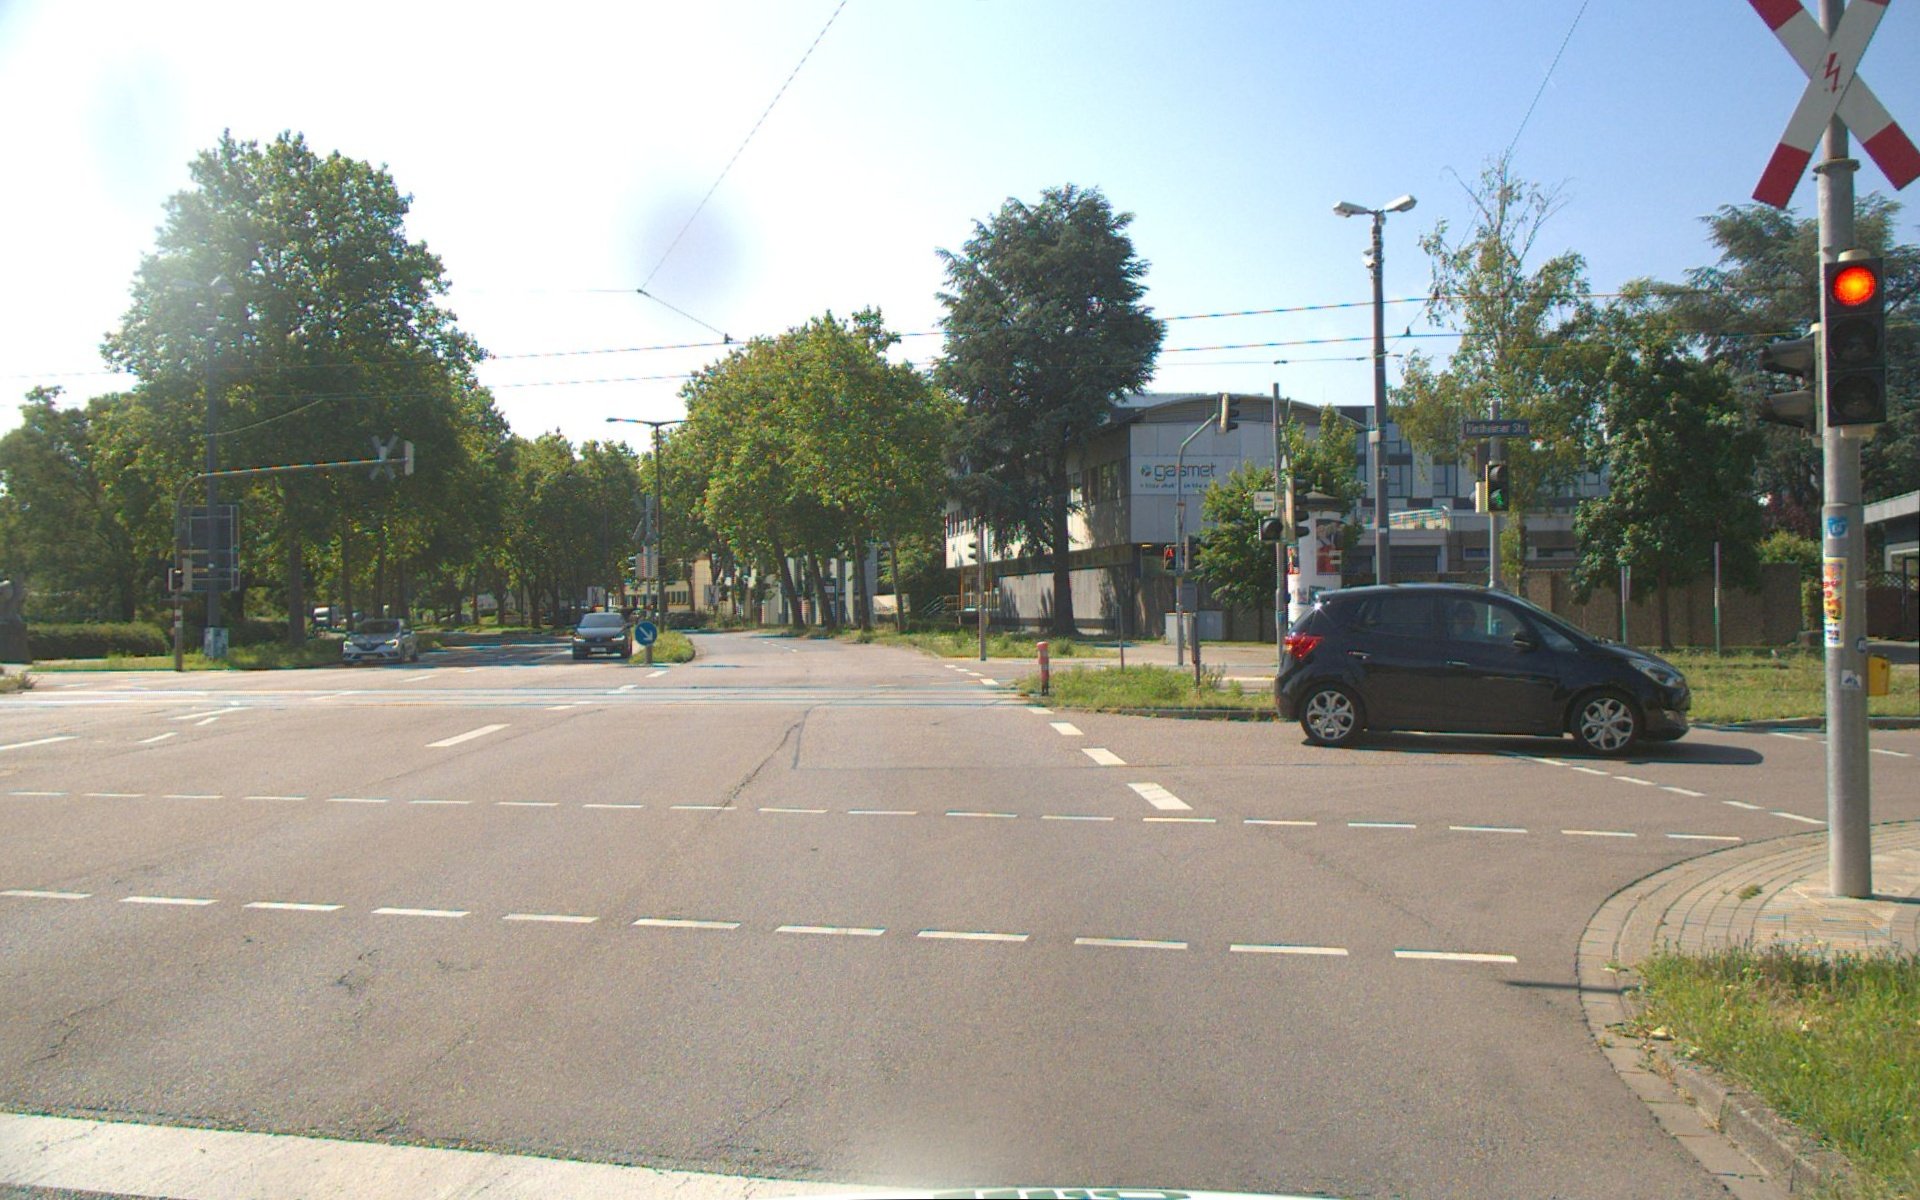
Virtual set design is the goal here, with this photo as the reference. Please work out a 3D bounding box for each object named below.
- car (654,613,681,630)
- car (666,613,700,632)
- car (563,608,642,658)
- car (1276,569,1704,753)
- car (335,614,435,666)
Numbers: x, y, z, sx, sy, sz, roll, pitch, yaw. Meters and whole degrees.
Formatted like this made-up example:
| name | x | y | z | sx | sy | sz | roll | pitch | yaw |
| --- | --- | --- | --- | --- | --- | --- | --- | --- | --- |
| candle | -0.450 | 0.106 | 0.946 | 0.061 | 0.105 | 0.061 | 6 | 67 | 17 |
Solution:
| name | x | y | z | sx | sy | sz | roll | pitch | yaw |
| --- | --- | --- | --- | --- | --- | --- | --- | --- | --- |
| car | -26.255 | 1.930 | 148.360 | 1.682 | 1.514 | 4.075 | -1 | 0 | -21 |
| car | -24.003 | 1.925 | 143.117 | 1.685 | 1.513 | 4.681 | -2 | 0 | -25 |
| car | -11.495 | 1.038 | 53.408 | 1.659 | 1.534 | 4.128 | -1 | 0 | -1 |
| car | 5.307 | 0.544 | 16.702 | 3.905 | 1.684 | 1.794 | 0 | 0 | 21 |
| car | -18.538 | 1.257 | 53.564 | 1.659 | 1.534 | 4.660 | -1 | 0 | -1 |
